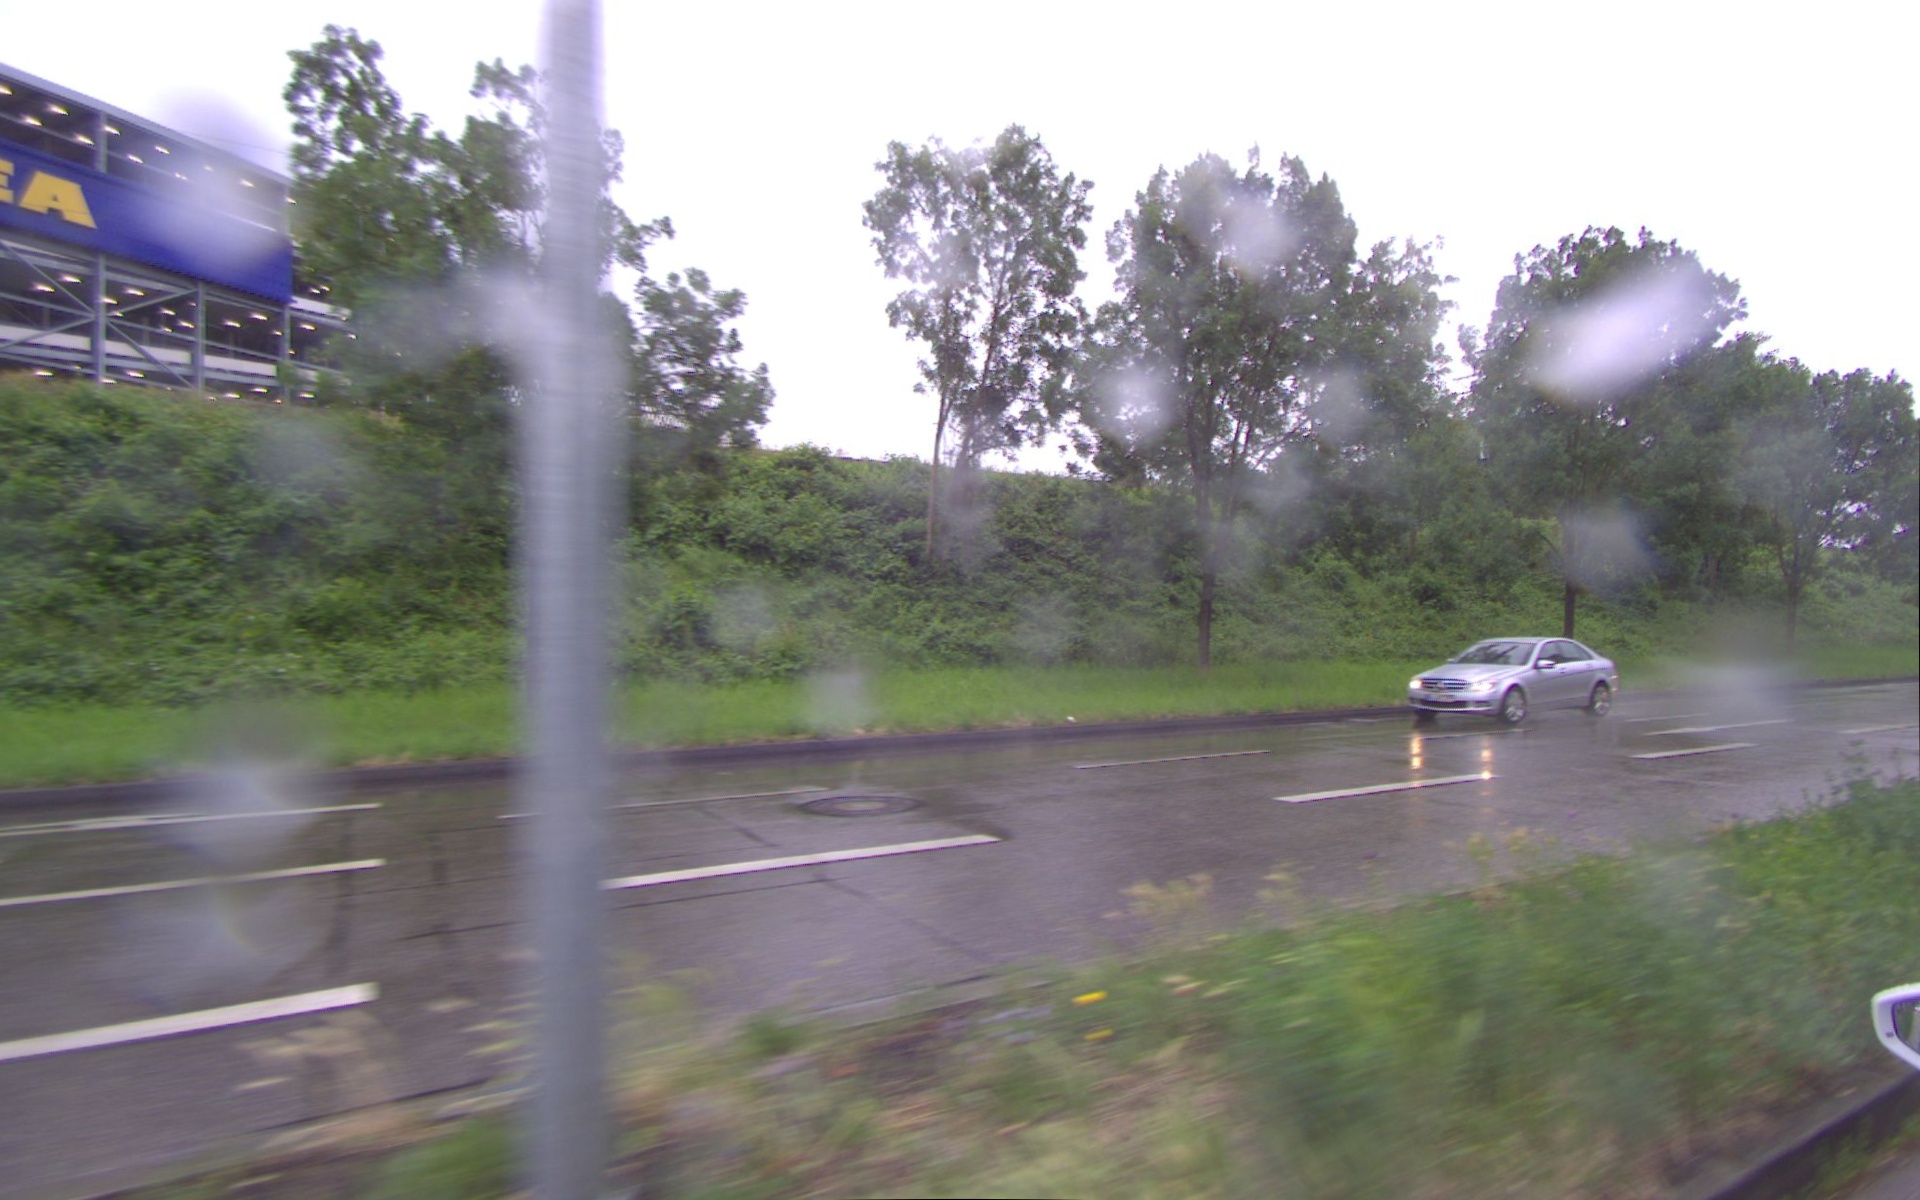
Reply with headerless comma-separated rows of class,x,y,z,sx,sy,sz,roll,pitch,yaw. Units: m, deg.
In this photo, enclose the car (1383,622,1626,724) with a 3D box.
car,9.789,1.227,17.971,4.427,1.634,1.888,1,-2,-32
